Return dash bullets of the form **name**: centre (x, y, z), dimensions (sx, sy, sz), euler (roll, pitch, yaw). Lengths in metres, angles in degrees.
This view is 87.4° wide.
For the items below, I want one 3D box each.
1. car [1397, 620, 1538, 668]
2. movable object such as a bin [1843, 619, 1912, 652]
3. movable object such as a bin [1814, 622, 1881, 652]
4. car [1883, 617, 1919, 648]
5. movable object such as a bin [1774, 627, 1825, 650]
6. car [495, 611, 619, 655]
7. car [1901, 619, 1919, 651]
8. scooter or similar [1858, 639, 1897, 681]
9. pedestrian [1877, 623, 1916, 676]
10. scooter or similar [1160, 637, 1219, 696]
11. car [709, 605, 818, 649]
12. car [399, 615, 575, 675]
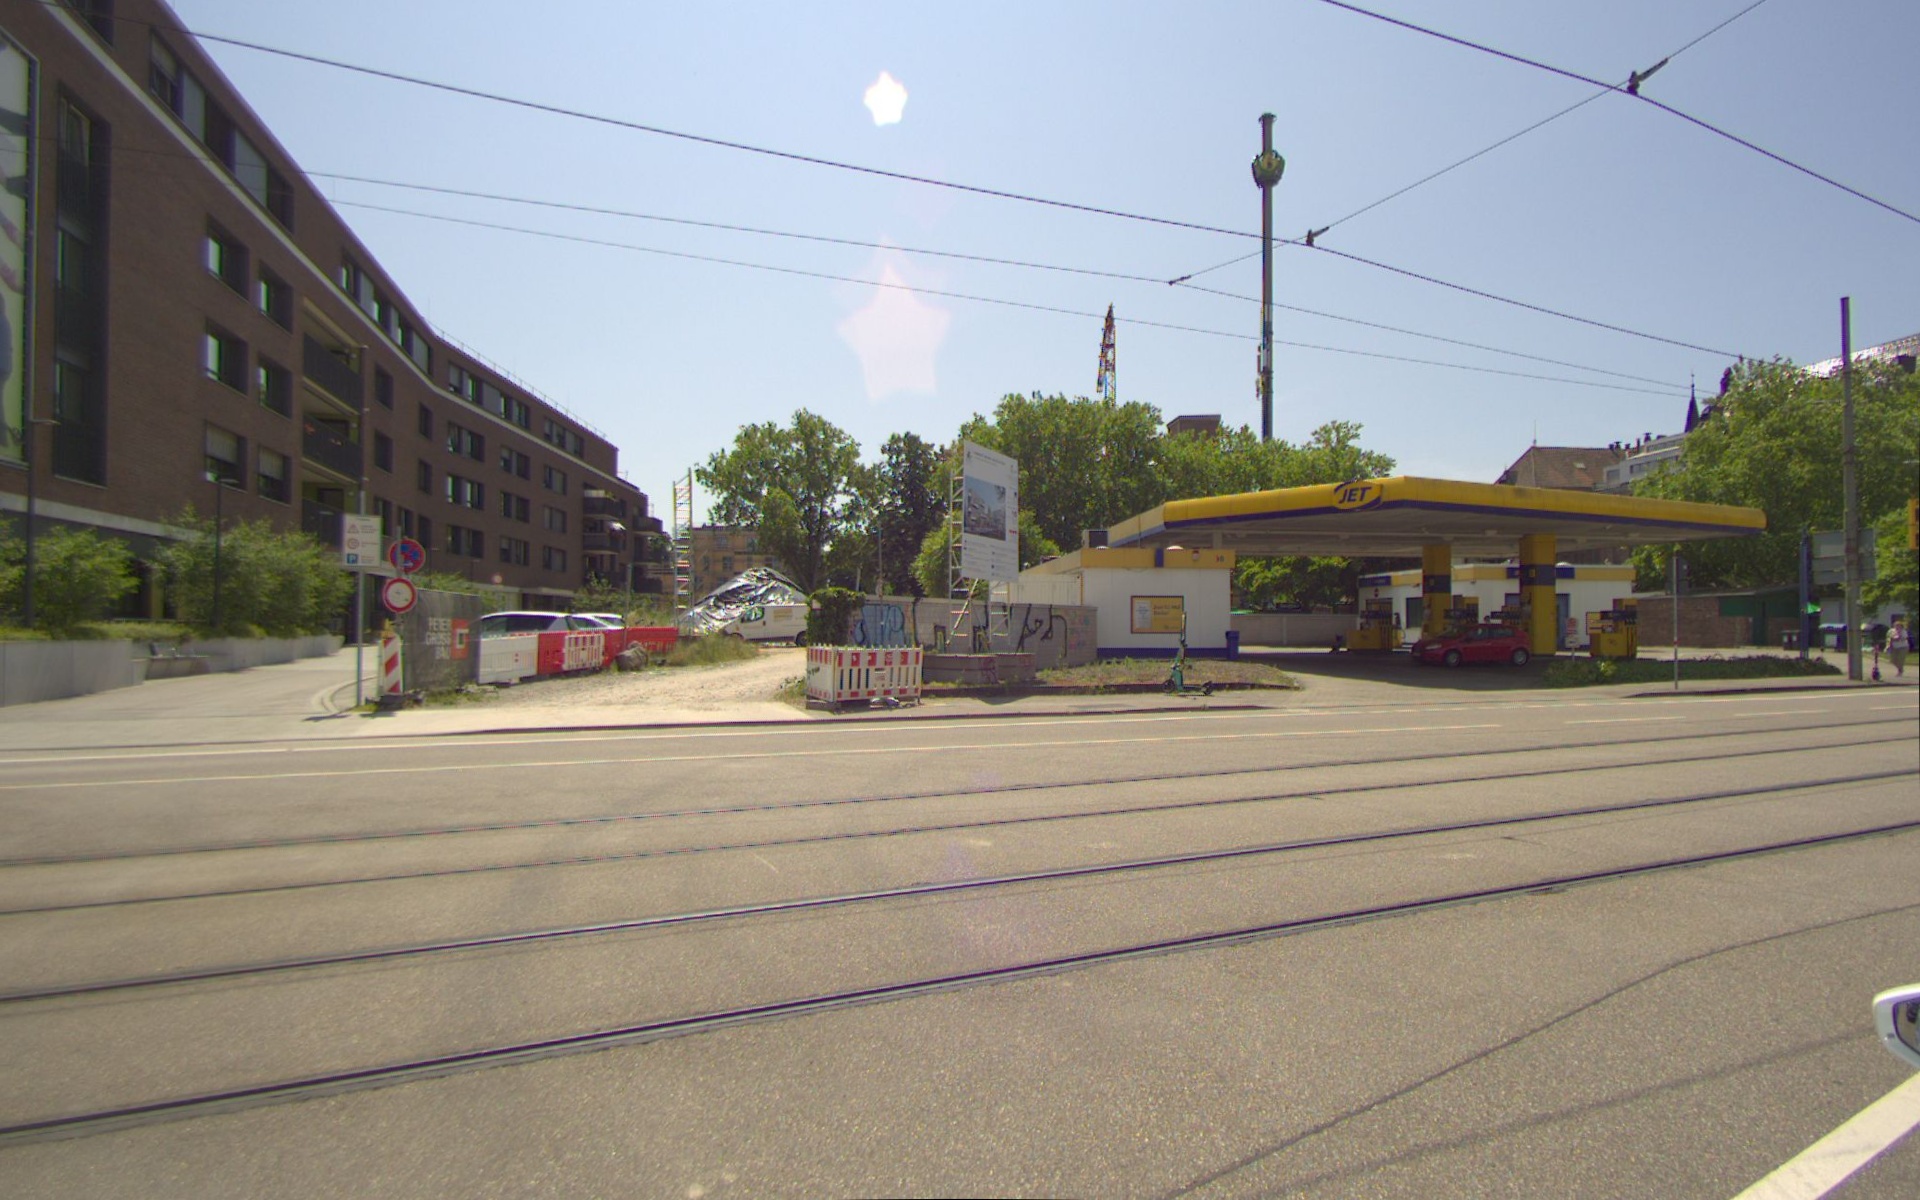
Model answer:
- **car**: centre (17.890, 1.520, 35.514), dimensions (4.120, 1.525, 1.830), euler (-1, 1, -6)
- **movable object such as a bin**: centre (45.285, 1.741, 49.601), dimensions (2.059, 1.529, 1.525), euler (1, 0, -5)
- **movable object such as a bin**: centre (45.193, 1.876, 51.175), dimensions (2.059, 1.451, 1.525), euler (1, 0, -5)
- **car**: centre (48.790, 1.635, 49.598), dimensions (4.360, 1.508, 1.936), euler (1, 0, 11)
- **movable object such as a bin**: centre (44.881, 2.044, 53.724), dimensions (1.534, 1.153, 1.408), euler (1, 0, -5)
- **car**: centre (-14.110, 1.151, 35.387), dimensions (3.937, 1.488, 1.730), euler (1, -1, -19)
- **car**: centre (47.817, 1.679, 47.561), dimensions (4.360, 1.508, 1.936), euler (1, 0, 11)
- **scooter or similar**: centre (27.350, 1.775, 29.931), dimensions (1.361, 1.216, 0.516), euler (1, 0, -32)
- **pedestrian**: centre (30.303, 1.593, 32.503), dimensions (0.710, 1.713, 0.625), euler (0, -1, -16)
- **scooter or similar**: centre (5.095, 1.483, 22.318), dimensions (1.218, 1.281, 0.345), euler (1, 0, -4)
- **car**: centre (-8.960, 1.222, 45.694), dimensions (4.737, 1.930, 1.731), euler (1, -1, -17)
- **car**: centre (-12.249, 1.153, 26.288), dimensions (3.936, 1.488, 1.731), euler (1, -1, -17)
